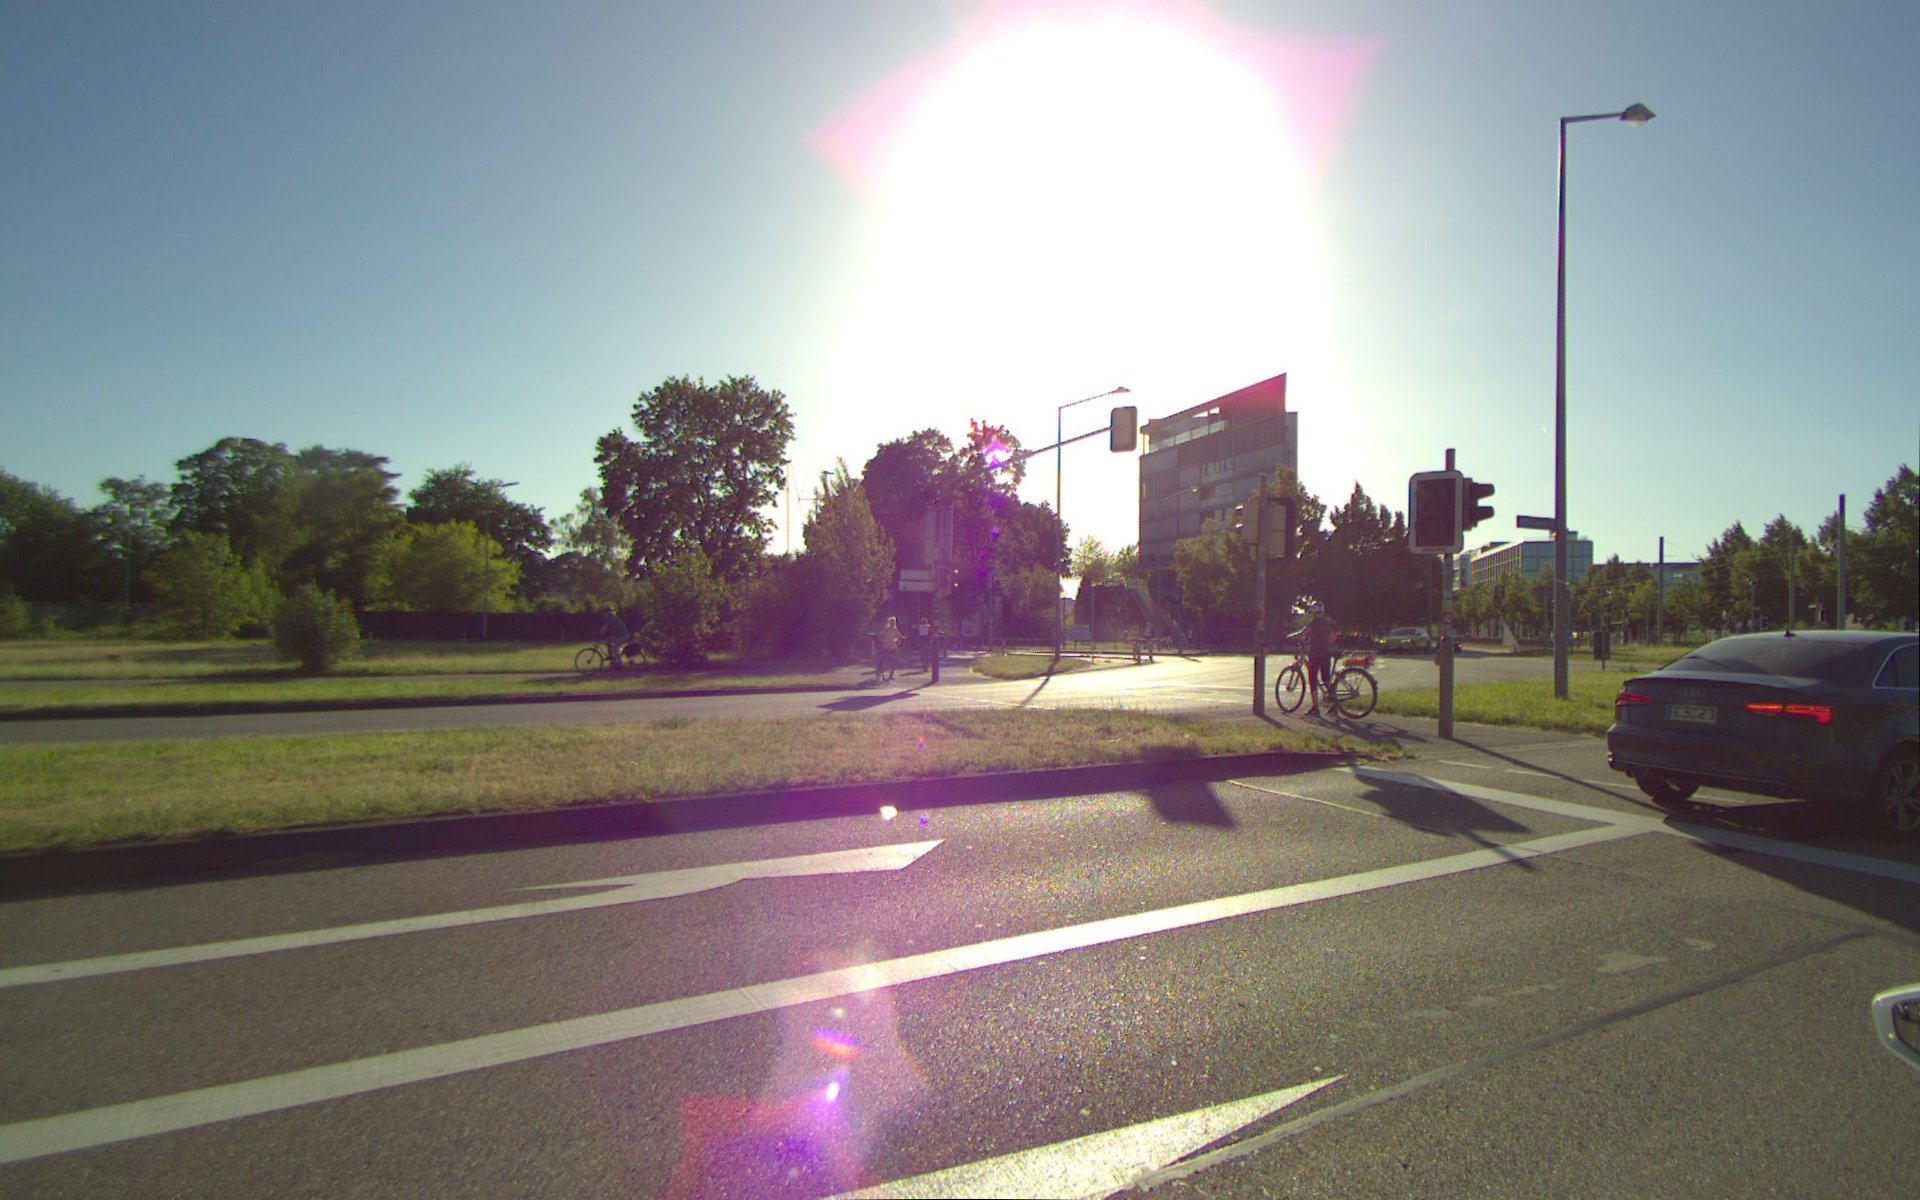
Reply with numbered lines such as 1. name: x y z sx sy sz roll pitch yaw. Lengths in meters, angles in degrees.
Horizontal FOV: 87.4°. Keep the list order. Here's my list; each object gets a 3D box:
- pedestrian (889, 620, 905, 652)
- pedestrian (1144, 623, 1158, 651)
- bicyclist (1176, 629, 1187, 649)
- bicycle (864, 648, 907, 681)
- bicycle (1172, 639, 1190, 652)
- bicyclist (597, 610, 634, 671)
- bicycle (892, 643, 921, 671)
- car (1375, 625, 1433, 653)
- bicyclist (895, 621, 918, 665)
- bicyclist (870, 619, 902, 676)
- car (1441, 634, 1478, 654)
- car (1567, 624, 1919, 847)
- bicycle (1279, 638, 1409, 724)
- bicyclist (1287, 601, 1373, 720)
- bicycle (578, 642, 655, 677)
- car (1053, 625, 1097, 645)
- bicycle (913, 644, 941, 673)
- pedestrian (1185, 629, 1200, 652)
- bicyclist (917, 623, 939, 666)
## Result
1. pedestrian: -4.104 2.352 65.433 0.802 2.040 0.902 1 -2 12
2. pedestrian: 14.148 2.746 74.386 0.937 2.032 0.582 1 -1 -41
3. bicyclist: 17.857 3.113 80.975 0.651 1.601 0.832 0 -1 34
4. bicycle: -2.094 1.776 27.937 0.608 0.864 1.878 1 -1 -24
5. bicycle: 17.822 3.639 80.957 0.651 1.001 2.256 0 -2 33
6. bicyclist: -9.051 1.052 26.384 0.840 1.584 0.430 1 -1 -27
7. bicycle: -1.766 1.882 33.402 0.605 0.864 1.890 0 -1 7
8. car: 25.698 2.240 58.051 1.980 1.561 4.304 -1 -2 40
9. bicyclist: -1.769 1.425 33.477 0.605 1.411 0.838 0 -1 7
10. bicyclist: -2.066 1.305 27.900 0.609 1.537 0.920 1 -1 -24
11. car: 49.759 4.379 100.142 2.413 1.808 5.017 1 -1 15
12. car: 7.193 0.942 7.960 4.291 1.398 1.758 2 -1 -19
13. bicycle: 5.575 1.148 14.655 0.698 1.143 1.636 3 -2 -39
14. bicyclist: 5.449 0.875 14.807 0.699 1.685 0.932 3 -2 -39
15. bicycle: -9.019 1.552 26.389 1.864 0.864 0.488 1 -1 -27
16. car: 10.614 3.222 92.676 3.696 1.829 1.826 1 -1 -28
17. bicycle: -1.062 1.902 32.741 0.605 0.864 1.890 0 -1 7
18. pedestrian: 17.216 2.982 74.431 0.872 1.651 0.757 -1 -1 41
19. bicyclist: -1.048 1.443 32.749 0.605 1.411 0.719 0 -1 7
